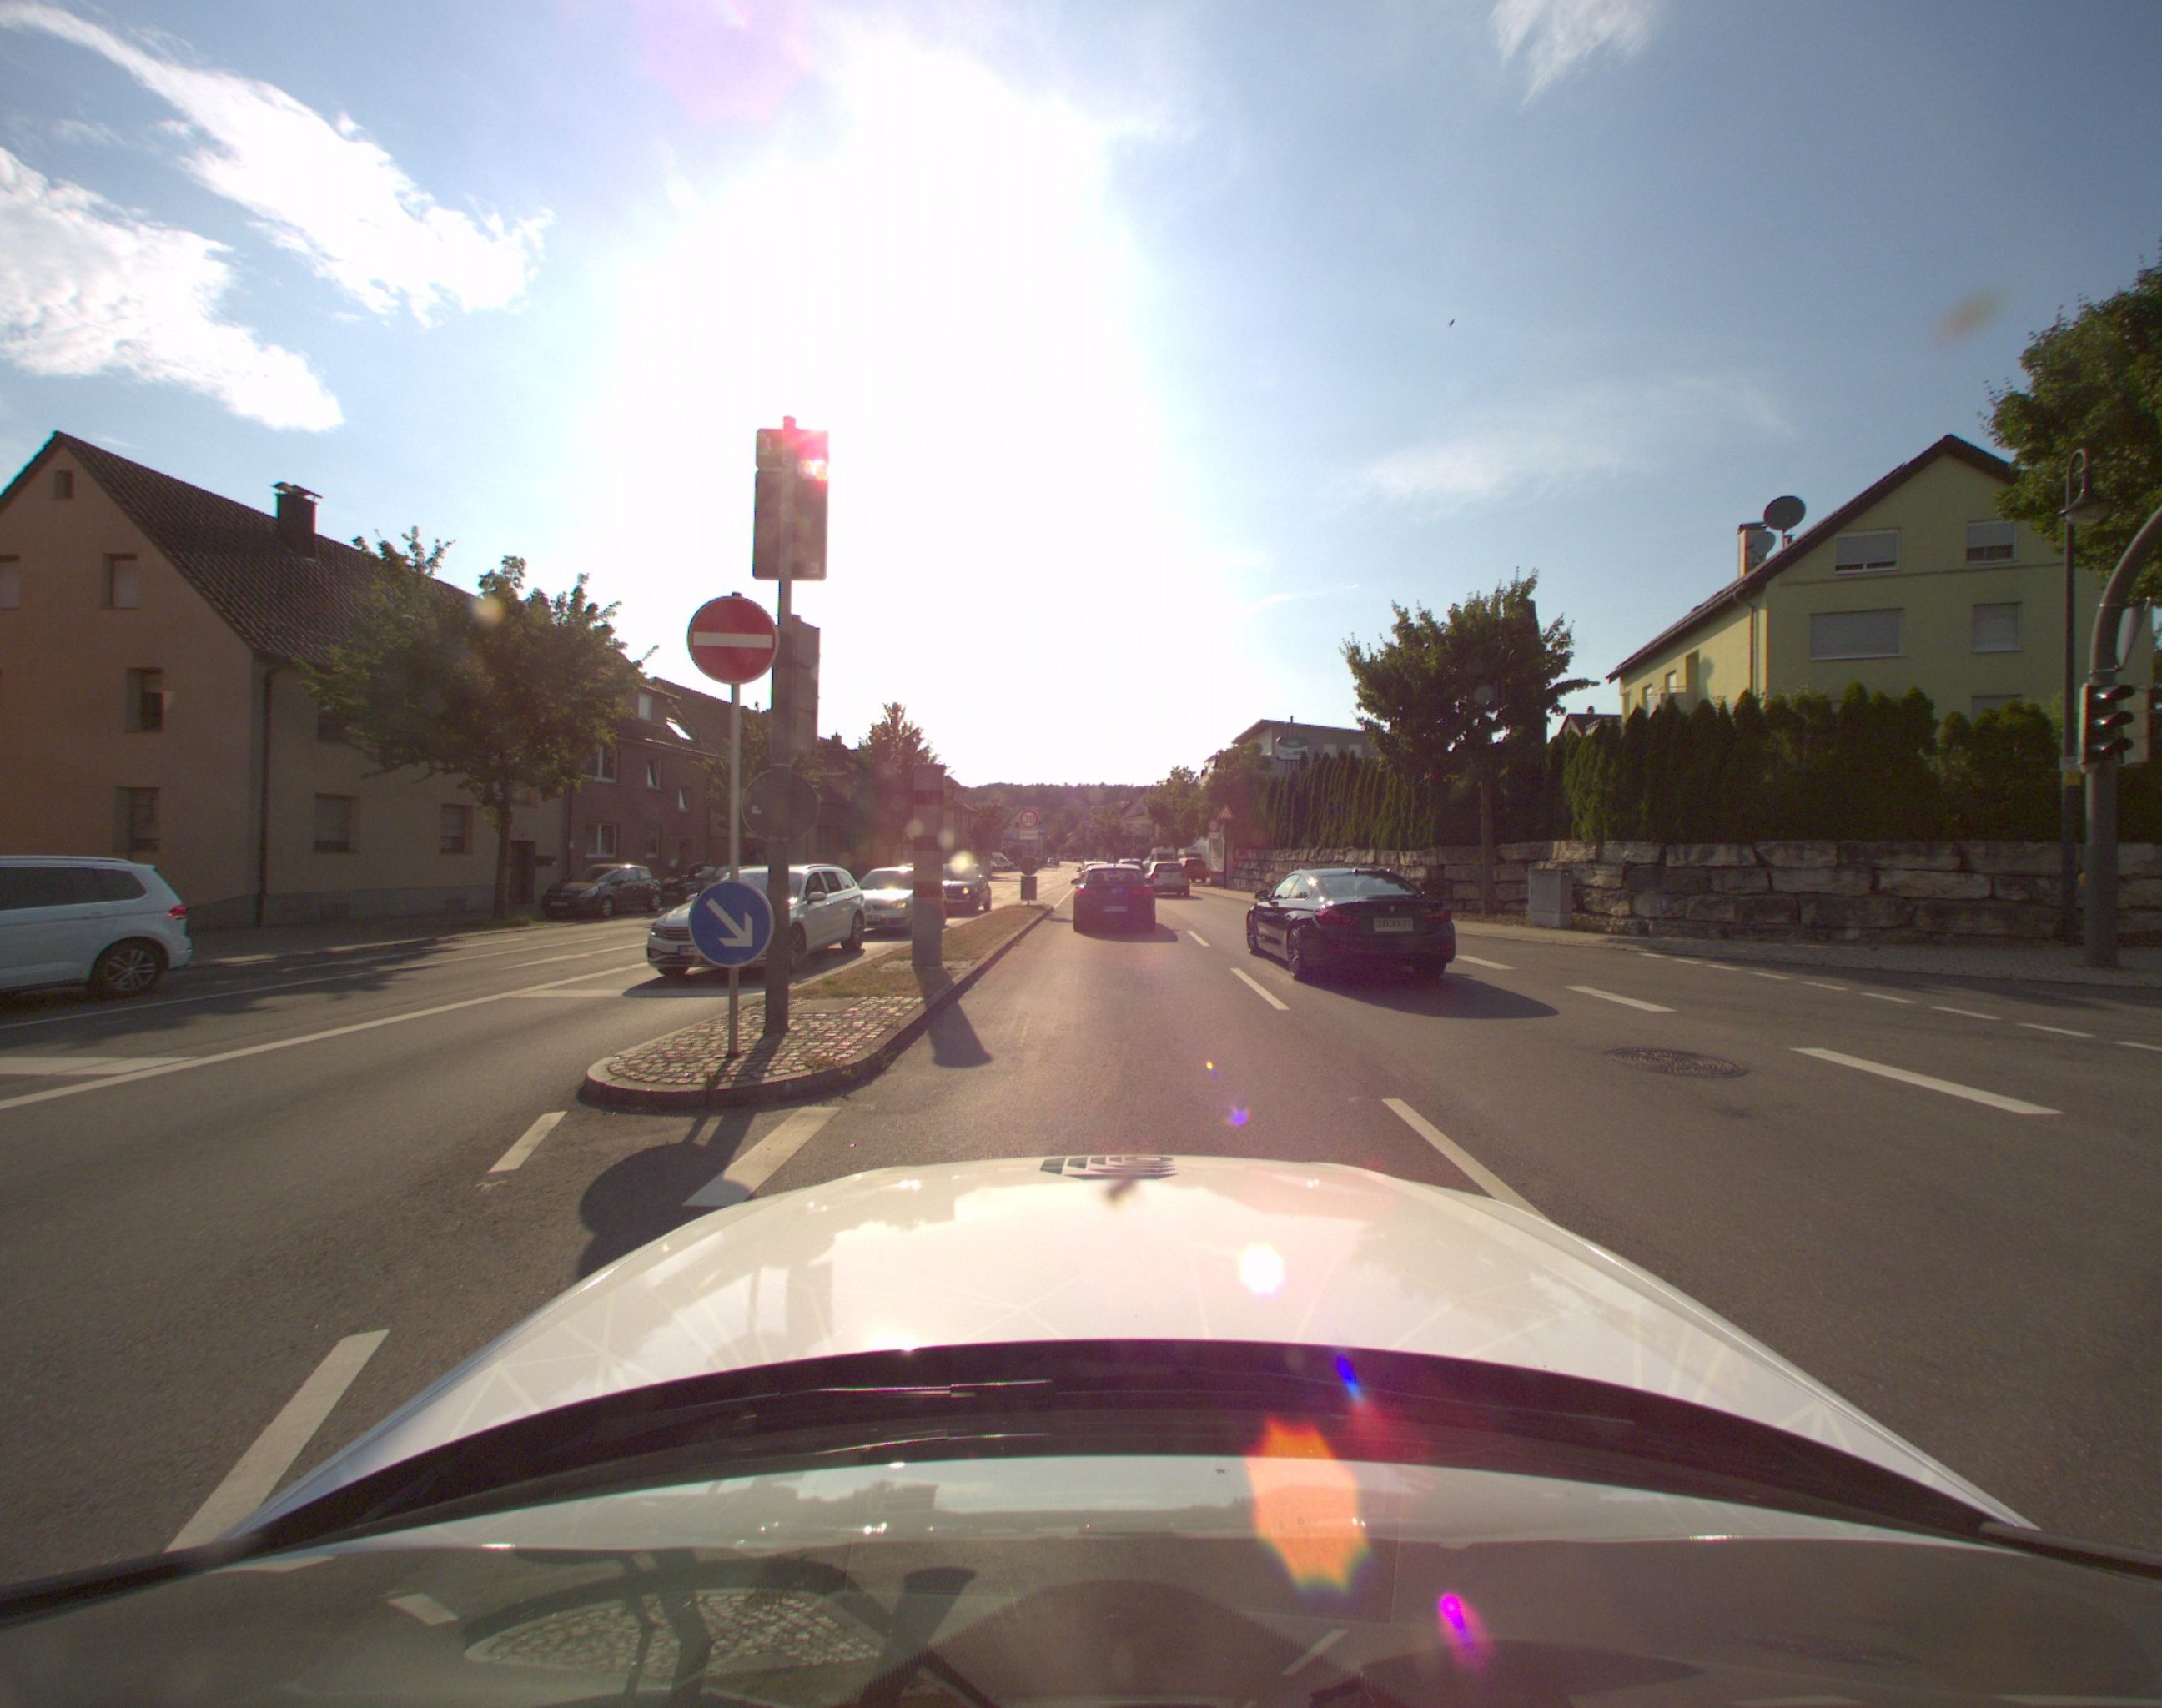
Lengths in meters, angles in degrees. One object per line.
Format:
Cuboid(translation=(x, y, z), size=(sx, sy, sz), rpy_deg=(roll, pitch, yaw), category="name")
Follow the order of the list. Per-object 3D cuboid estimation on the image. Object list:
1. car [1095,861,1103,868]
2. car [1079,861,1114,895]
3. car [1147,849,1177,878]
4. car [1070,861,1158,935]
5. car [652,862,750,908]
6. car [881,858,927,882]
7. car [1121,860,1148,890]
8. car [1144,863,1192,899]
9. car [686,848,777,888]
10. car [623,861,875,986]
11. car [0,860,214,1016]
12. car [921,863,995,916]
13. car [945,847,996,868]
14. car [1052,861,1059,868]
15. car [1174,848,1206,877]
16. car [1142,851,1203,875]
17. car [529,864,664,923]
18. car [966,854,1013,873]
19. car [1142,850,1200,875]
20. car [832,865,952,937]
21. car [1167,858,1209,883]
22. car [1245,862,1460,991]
Cuboid(translation=(3.776, 2.197, 175.744), size=(1.592, 1.485, 3.473), rpy_deg=(1, 0, -1), category="car")
Cuboid(translation=(0.729, 1.194, 41.260), size=(1.587, 1.600, 3.890), rpy_deg=(0, 0, -2), category="car")
Cuboid(translation=(7.827, 0.869, 79.201), size=(2.143, 2.680, 6.599), rpy_deg=(0, 0, -1), category="car")
Cuboid(translation=(0.711, 0.914, 18.378), size=(1.765, 1.456, 3.516), rpy_deg=(-1, 0, 1), category="car")
Cuboid(translation=(-13.672, 1.066, 29.556), size=(1.613, 1.510, 4.133), rpy_deg=(0, 0, 0), category="car")
Cuboid(translation=(-11.740, 1.067, 54.244), size=(1.657, 1.487, 4.007), rpy_deg=(2, 0, 7), category="car")
Cuboid(translation=(3.235, 1.241, 49.647), size=(1.596, 1.767, 3.413), rpy_deg=(0, 0, 2), category="car")
Cuboid(translation=(3.615, 1.104, 34.435), size=(1.747, 1.414, 3.422), rpy_deg=(0, 0, 1), category="car")
Cuboid(translation=(-17.770, 0.718, 41.528), size=(3.805, 1.881, 1.780), rpy_deg=(2, -1, 3), category="car")
Cuboid(translation=(-4.675, 0.876, 12.324), size=(1.828, 1.488, 4.568), rpy_deg=(0, 0, 2), category="car")
Cuboid(translation=(-11.972, 0.870, 8.195), size=(1.679, 1.612, 4.414), rpy_deg=(0, 0, 2), category="car")
Cuboid(translation=(-3.652, 1.026, 24.719), size=(1.526, 1.462, 3.508), rpy_deg=(0, 0, 3), category="car")
Cuboid(translation=(-13.613, 0.380, 100.577), size=(5.893, 2.480, 2.196), rpy_deg=(1, 1, 4), category="car")
Cuboid(translation=(-5.920, 2.453, 188.470), size=(1.592, 1.485, 3.473), rpy_deg=(1, 0, -1), category="car")
Cuboid(translation=(10.575, 0.774, 79.518), size=(2.105, 2.722, 6.438), rpy_deg=(0, 0, -2), category="car")
Cuboid(translation=(9.397, 0.939, 84.138), size=(6.029, 2.363, 2.042), rpy_deg=(0, 0, -3), category="car")
Cuboid(translation=(-13.960, 1.072, 23.737), size=(1.507, 1.510, 3.886), rpy_deg=(1, 0, 1), category="car")
Cuboid(translation=(-12.351, 1.258, 110.266), size=(6.139, 2.445, 2.249), rpy_deg=(1, 0, 0), category="car")
Cuboid(translation=(9.594, 0.901, 87.138), size=(6.029, 2.516, 2.042), rpy_deg=(0, 0, -3), category="car")
Cuboid(translation=(-4.063, 0.968, 18.058), size=(1.582, 1.427, 3.582), rpy_deg=(-1, -1, 4), category="car")
Cuboid(translation=(7.483, 1.126, 57.236), size=(1.833, 1.649, 4.526), rpy_deg=(0, -1, -7), category="car")
Cuboid(translation=(3.465, 0.833, 11.250), size=(1.693, 1.369, 4.265), rpy_deg=(-1, 0, 2), category="car")
